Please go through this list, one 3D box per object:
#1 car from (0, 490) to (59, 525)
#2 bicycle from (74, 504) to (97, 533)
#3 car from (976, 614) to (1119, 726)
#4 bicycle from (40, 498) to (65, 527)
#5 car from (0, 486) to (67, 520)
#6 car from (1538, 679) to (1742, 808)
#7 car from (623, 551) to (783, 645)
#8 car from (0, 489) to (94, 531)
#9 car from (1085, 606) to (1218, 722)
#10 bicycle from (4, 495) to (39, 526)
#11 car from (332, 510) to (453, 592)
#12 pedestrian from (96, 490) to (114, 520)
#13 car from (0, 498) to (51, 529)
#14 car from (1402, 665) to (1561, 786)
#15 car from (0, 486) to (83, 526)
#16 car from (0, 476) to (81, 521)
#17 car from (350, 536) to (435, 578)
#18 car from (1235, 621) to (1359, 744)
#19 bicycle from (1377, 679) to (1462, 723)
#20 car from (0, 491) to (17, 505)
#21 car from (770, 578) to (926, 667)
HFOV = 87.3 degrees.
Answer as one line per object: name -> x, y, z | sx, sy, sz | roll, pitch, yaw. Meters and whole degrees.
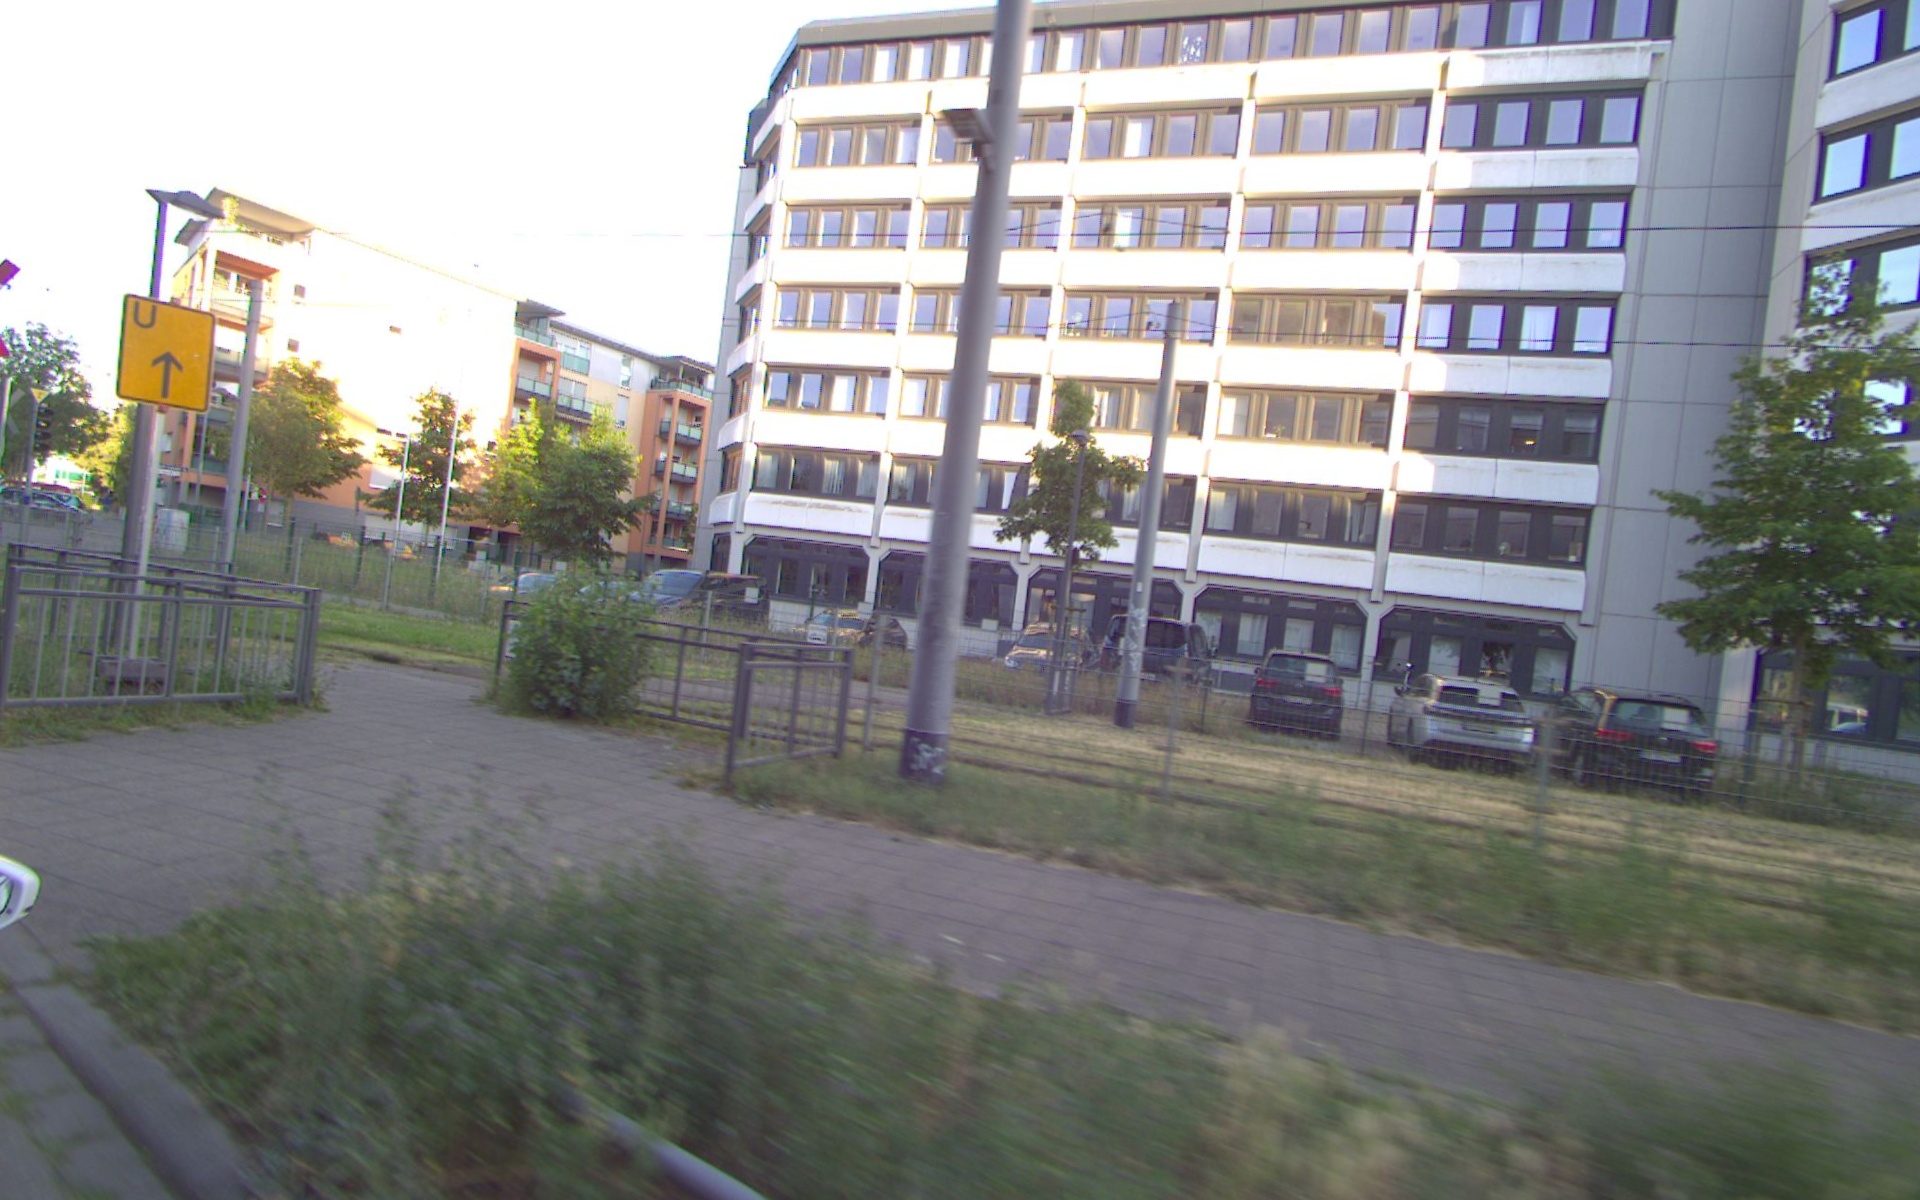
car -> -51.013, -5.067, 54.027 | 1.520, 1.512, 3.765 | 4, -3, 44
bicycle -> -41.083, -3.838, 47.272 | 1.936, 1.140, 0.528 | 9, 0, 44
car -> 2.054, 1.539, 22.469 | 1.963, 2.038, 4.001 | 7, -1, 21
bicycle -> -41.643, -4.014, 46.146 | 1.901, 1.168, 0.677 | 9, 3, 43
car -> -53.884, -5.634, 57.451 | 4.202, 1.589, 1.769 | 5, 1, -45
car -> 11.161, 2.267, 16.845 | 1.784, 1.612, 4.001 | 7, -1, 21
car -> -6.775, 0.017, 26.992 | 1.964, 2.038, 4.000 | 7, -1, 23
car -> -45.206, -4.440, 49.409 | 1.590, 1.491, 3.746 | 7, -1, 40
car -> 4.254, 1.386, 21.787 | 1.963, 2.037, 4.001 | 7, -1, 21
bicycle -> -42.347, -4.039, 45.394 | 1.868, 1.168, 0.716 | 9, 3, 35
car -> -17.247, -1.510, 30.500 | 3.948, 2.038, 1.989 | 7, -1, 44
pedestrian -> -53.550, -5.962, 62.982 | 0.690, 1.764, 0.667 | 7, 1, 45
car -> -60.264, -5.618, 63.120 | 4.657, 1.575, 1.788 | 8, -1, -45
car -> 8.945, 2.069, 17.627 | 1.784, 1.612, 4.407 | 7, -1, 21
car -> -47.003, -4.802, 50.730 | 1.651, 1.588, 4.038 | 7, 1, 45
car -> -57.170, -6.292, 61.579 | 4.906, 2.142, 1.992 | 8, -1, -44
car -> -29.891, -2.281, 52.956 | 4.741, 1.613, 1.994 | 7, -1, 36
car -> 6.983, 1.656, 20.681 | 1.963, 2.037, 4.276 | 7, -1, 21
bicycle -> 13.739, 3.015, 30.149 | 2.173, 0.962, 0.815 | 7, 0, 19
car -> -129.138, -13.896, 134.368 | 4.472, 1.615, 1.975 | 8, -1, -44
car -> -2.647, 0.626, 24.870 | 1.964, 1.771, 4.000 | 7, -1, 23
